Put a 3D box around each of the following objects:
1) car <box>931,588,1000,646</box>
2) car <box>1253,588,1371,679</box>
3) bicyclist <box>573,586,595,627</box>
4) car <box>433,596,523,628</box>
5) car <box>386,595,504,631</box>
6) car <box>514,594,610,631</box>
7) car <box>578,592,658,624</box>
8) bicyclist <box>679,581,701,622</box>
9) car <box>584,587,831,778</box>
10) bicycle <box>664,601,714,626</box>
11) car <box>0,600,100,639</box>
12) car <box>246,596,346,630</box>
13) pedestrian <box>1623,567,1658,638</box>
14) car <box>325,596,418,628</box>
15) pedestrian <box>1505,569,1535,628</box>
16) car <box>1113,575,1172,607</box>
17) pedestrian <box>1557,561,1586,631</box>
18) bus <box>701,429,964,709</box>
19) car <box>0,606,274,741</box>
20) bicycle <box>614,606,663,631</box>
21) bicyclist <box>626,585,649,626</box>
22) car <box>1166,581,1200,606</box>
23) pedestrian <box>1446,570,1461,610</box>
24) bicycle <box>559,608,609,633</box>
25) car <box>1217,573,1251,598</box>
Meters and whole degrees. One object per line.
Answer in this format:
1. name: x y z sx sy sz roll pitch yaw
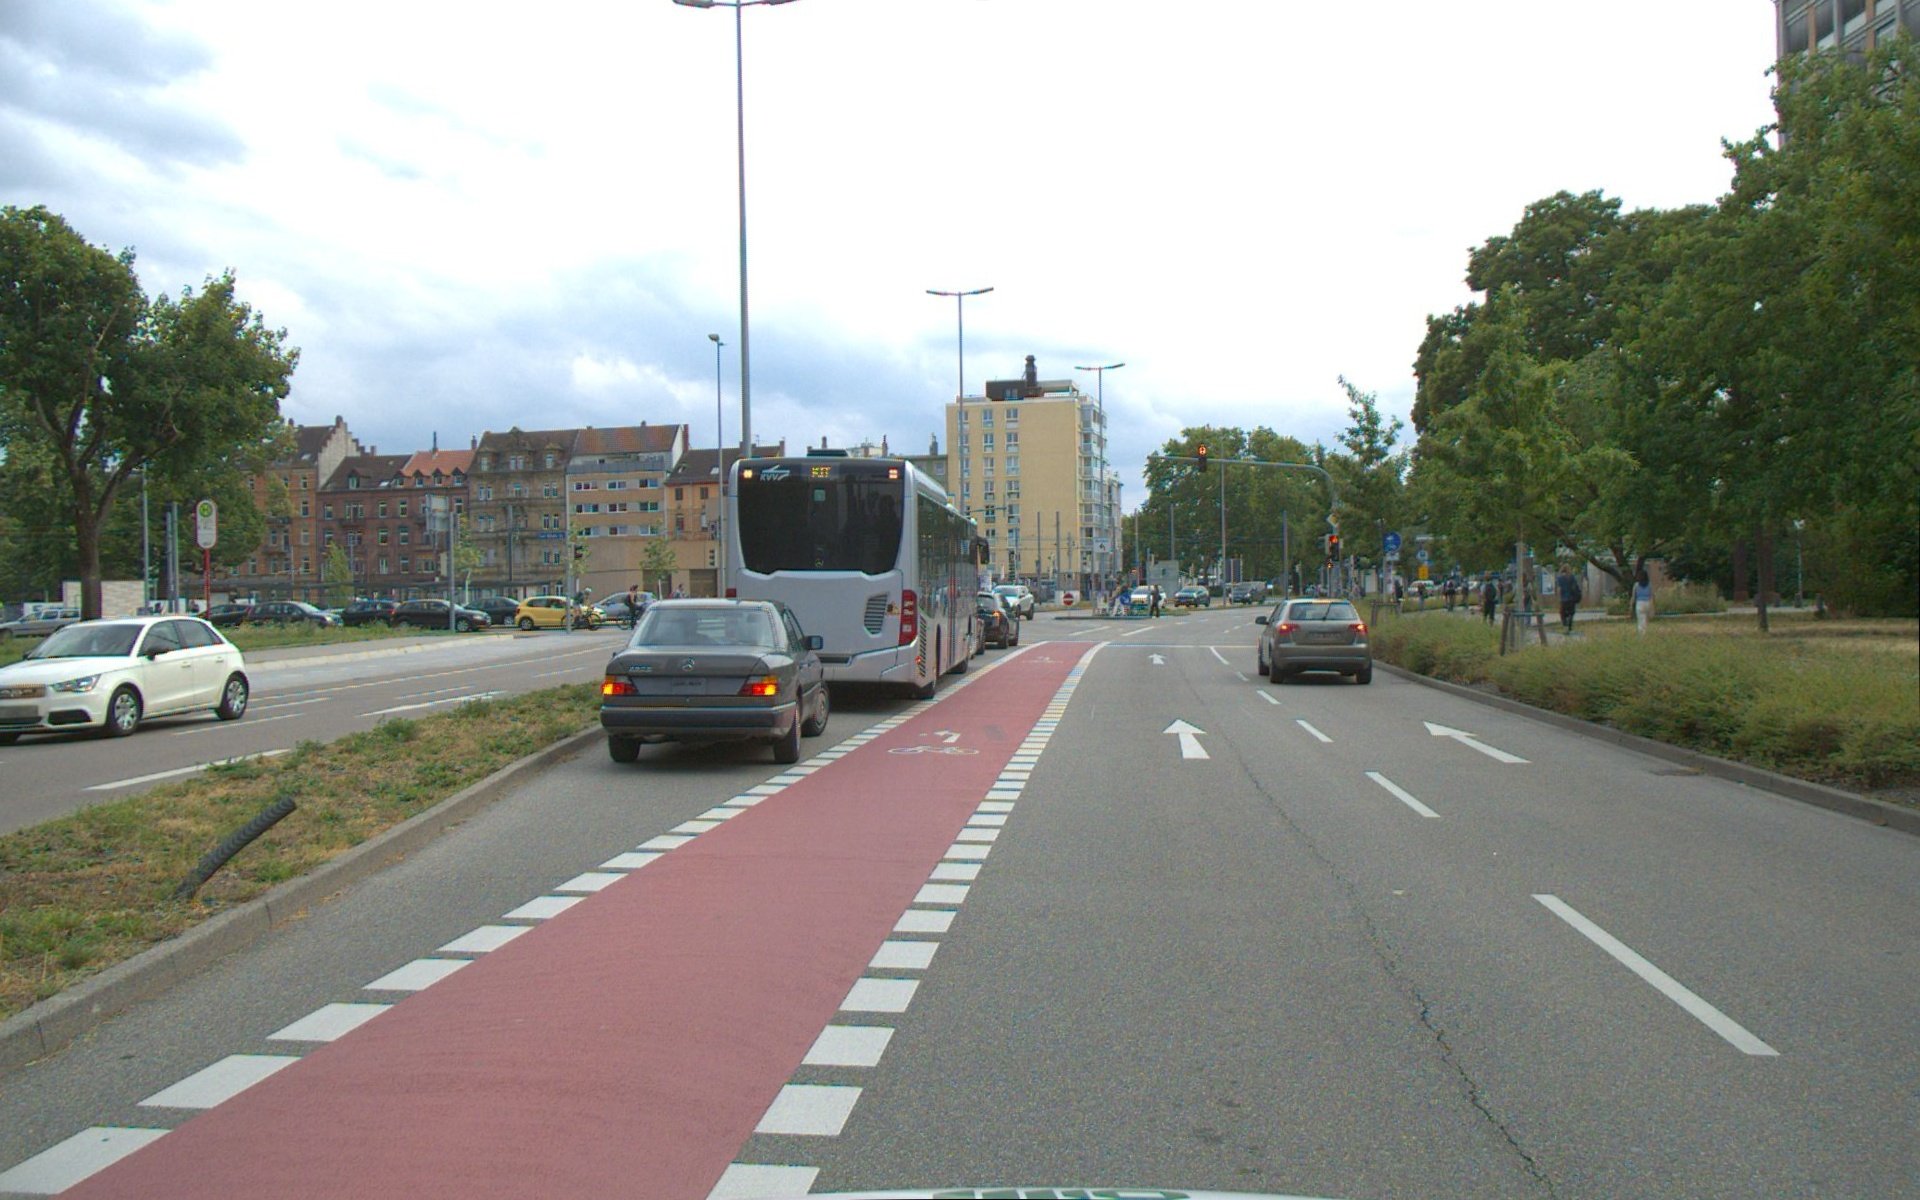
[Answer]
1. car: 0.173 0.423 43.545 1.620 1.421 3.862 -1 1 3
2. car: 6.233 0.546 29.598 1.688 1.483 3.739 -1 1 7
3. bicyclist: -15.768 0.262 69.390 0.770 1.672 0.572 -1 0 0
4. car: -22.208 0.566 76.322 3.686 1.419 1.585 0 0 0
5. car: -22.352 0.536 71.846 4.573 1.501 1.660 0 0 0
6. car: -17.290 0.538 71.951 3.777 1.544 1.660 0 0 0
7. car: -15.866 0.371 76.696 3.611 1.419 1.578 0 0 -15
8. bicyclist: -11.226 0.066 68.823 0.770 1.672 0.614 -1 0 3
9. car: -2.223 0.654 15.598 1.725 1.515 4.170 -1 1 -1
10. bicycle: -11.270 0.562 68.827 1.923 0.999 0.631 -1 0 2
11. car: -42.780 0.920 77.506 4.069 1.678 1.647 -1 0 -1
12. car: -28.865 0.567 71.988 3.686 1.419 1.585 0 0 0
13. pedestrian: 14.457 0.049 35.158 0.643 1.496 0.561 -1 0 22
14. car: -27.087 0.554 76.211 3.686 1.419 1.585 0 0 0
15. pedestrian: 16.747 -0.039 49.484 0.785 1.743 0.765 -1 0 18
16. car: 13.152 -0.661 118.687 2.532 2.146 5.597 -1 0 25
17. pedestrian: 15.318 -0.100 41.418 0.633 1.743 0.562 -1 0 20
18. bus: -1.591 -0.436 24.751 2.772 3.449 8.187 -1 1 3
19. car: -10.392 0.849 20.659 1.635 1.413 3.925 -3 0 6
20. bicycle: -13.455 0.778 69.230 1.923 0.999 0.631 -1 0 4
21. bicyclist: -13.496 0.236 69.222 0.770 1.672 0.573 -1 0 5
22. car: 17.303 -0.515 128.372 1.769 1.883 4.001 -1 0 20
23. pedestrian: 25.563 -0.513 85.631 0.601 2.049 0.597 -1 0 4
24. bicycle: -15.764 0.858 69.396 1.924 0.999 0.631 -1 0 0
25. car: 23.302 -1.214 140.564 1.953 2.049 4.000 -1 1 22
